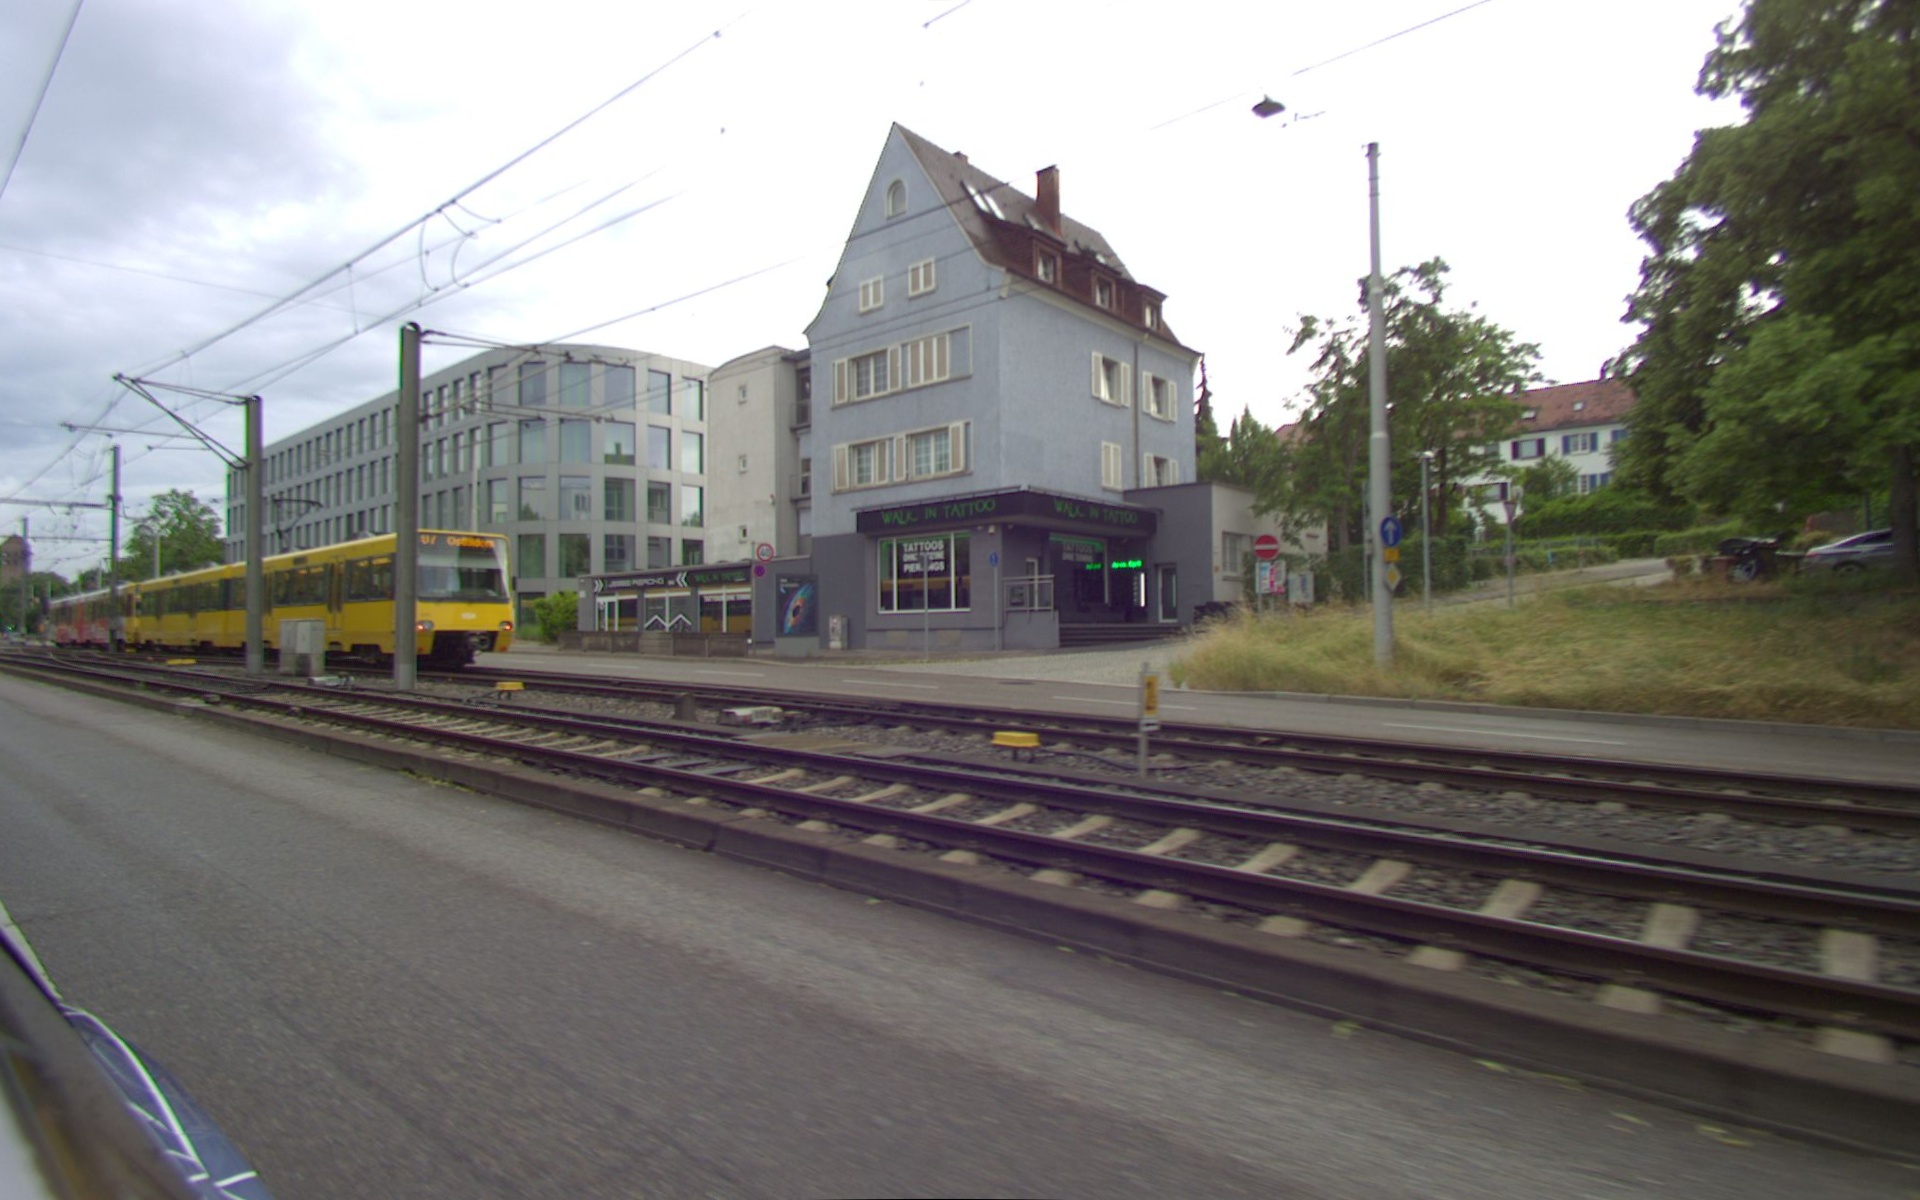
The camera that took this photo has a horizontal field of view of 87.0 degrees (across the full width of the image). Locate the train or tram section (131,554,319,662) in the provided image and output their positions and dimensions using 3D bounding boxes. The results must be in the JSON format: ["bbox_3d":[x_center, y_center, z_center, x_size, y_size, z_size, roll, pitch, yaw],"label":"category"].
[{"bbox_3d":[-32.052,0.545,43.440,19.097,3.840,2.935,-2,-2,43],"label":"train or tram section"}]

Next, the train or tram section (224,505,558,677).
[{"bbox_3d":[-17.929,0.060,30.271,19.518,3.840,2.935,-2,-2,43],"label":"train or tram section"}]

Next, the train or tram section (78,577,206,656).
[{"bbox_3d":[-45.826,1.057,56.298,18.613,3.840,2.935,-2,-2,43],"label":"train or tram section"}]

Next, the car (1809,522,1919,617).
[{"bbox_3d":[21.660,-0.659,22.203,1.934,2.029,4.228,1,-2,-33],"label":"car"}]

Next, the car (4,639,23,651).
[{"bbox_3d":[-142.399,6.796,152.241,3.562,1.649,1.788,-3,-2,42],"label":"car"}]

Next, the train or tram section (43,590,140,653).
[{"bbox_3d":[-59.445,1.577,69.002,18.613,3.840,2.935,-2,-2,43],"label":"train or tram section"}]
